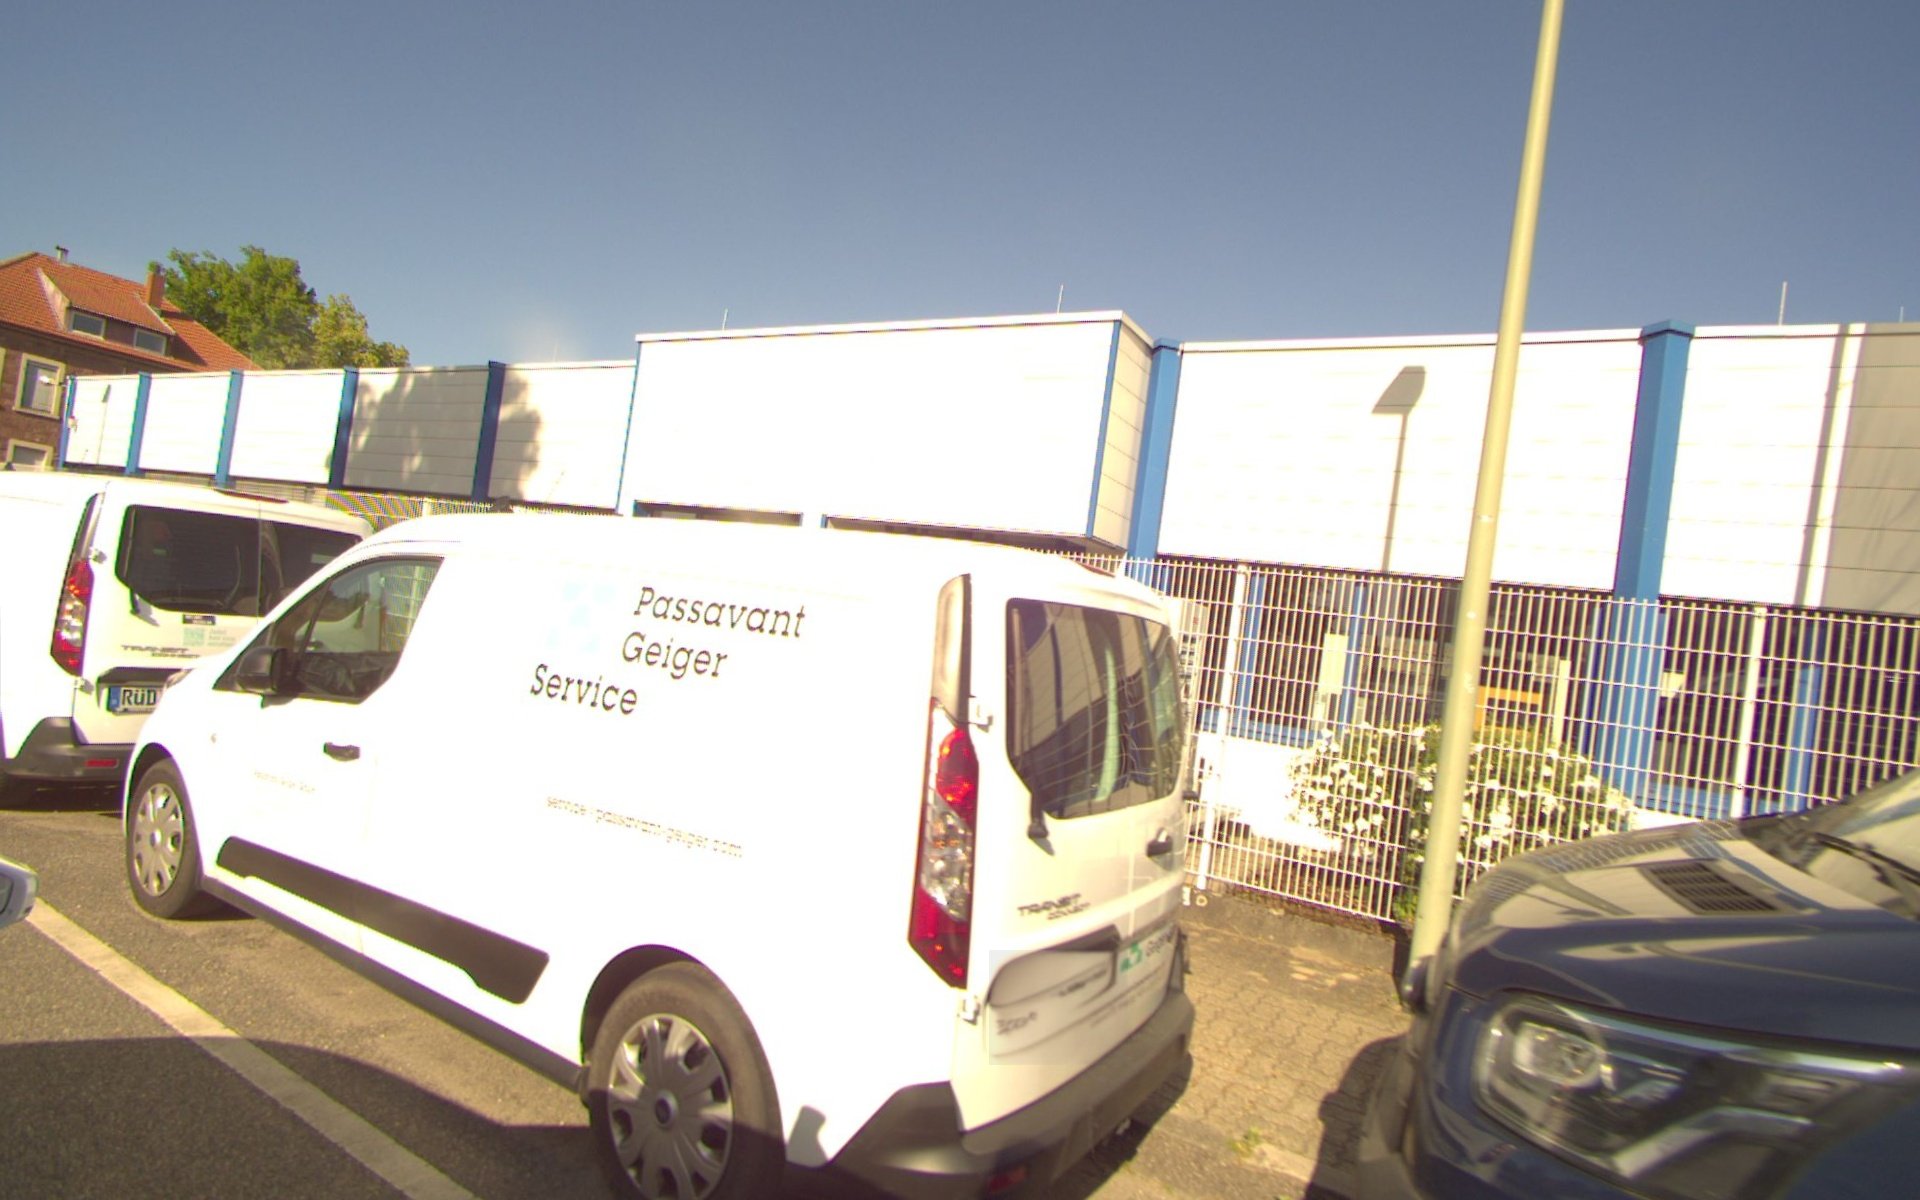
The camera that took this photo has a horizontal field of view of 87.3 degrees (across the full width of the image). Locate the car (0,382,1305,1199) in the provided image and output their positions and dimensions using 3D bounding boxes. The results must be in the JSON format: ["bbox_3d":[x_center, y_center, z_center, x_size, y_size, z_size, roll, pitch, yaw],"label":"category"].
[{"bbox_3d":[-1.525,0.448,3.959,5.020,1.866,1.891,5,-4,32],"label":"car"}]

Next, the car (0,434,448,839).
[{"bbox_3d":[-5.886,0.082,6.687,5.083,1.850,1.861,5,-4,32],"label":"car"}]

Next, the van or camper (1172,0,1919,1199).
[{"bbox_3d":[3.524,0.567,0.888,6.060,2.788,2.147,6,-4,32],"label":"van or camper"}]
